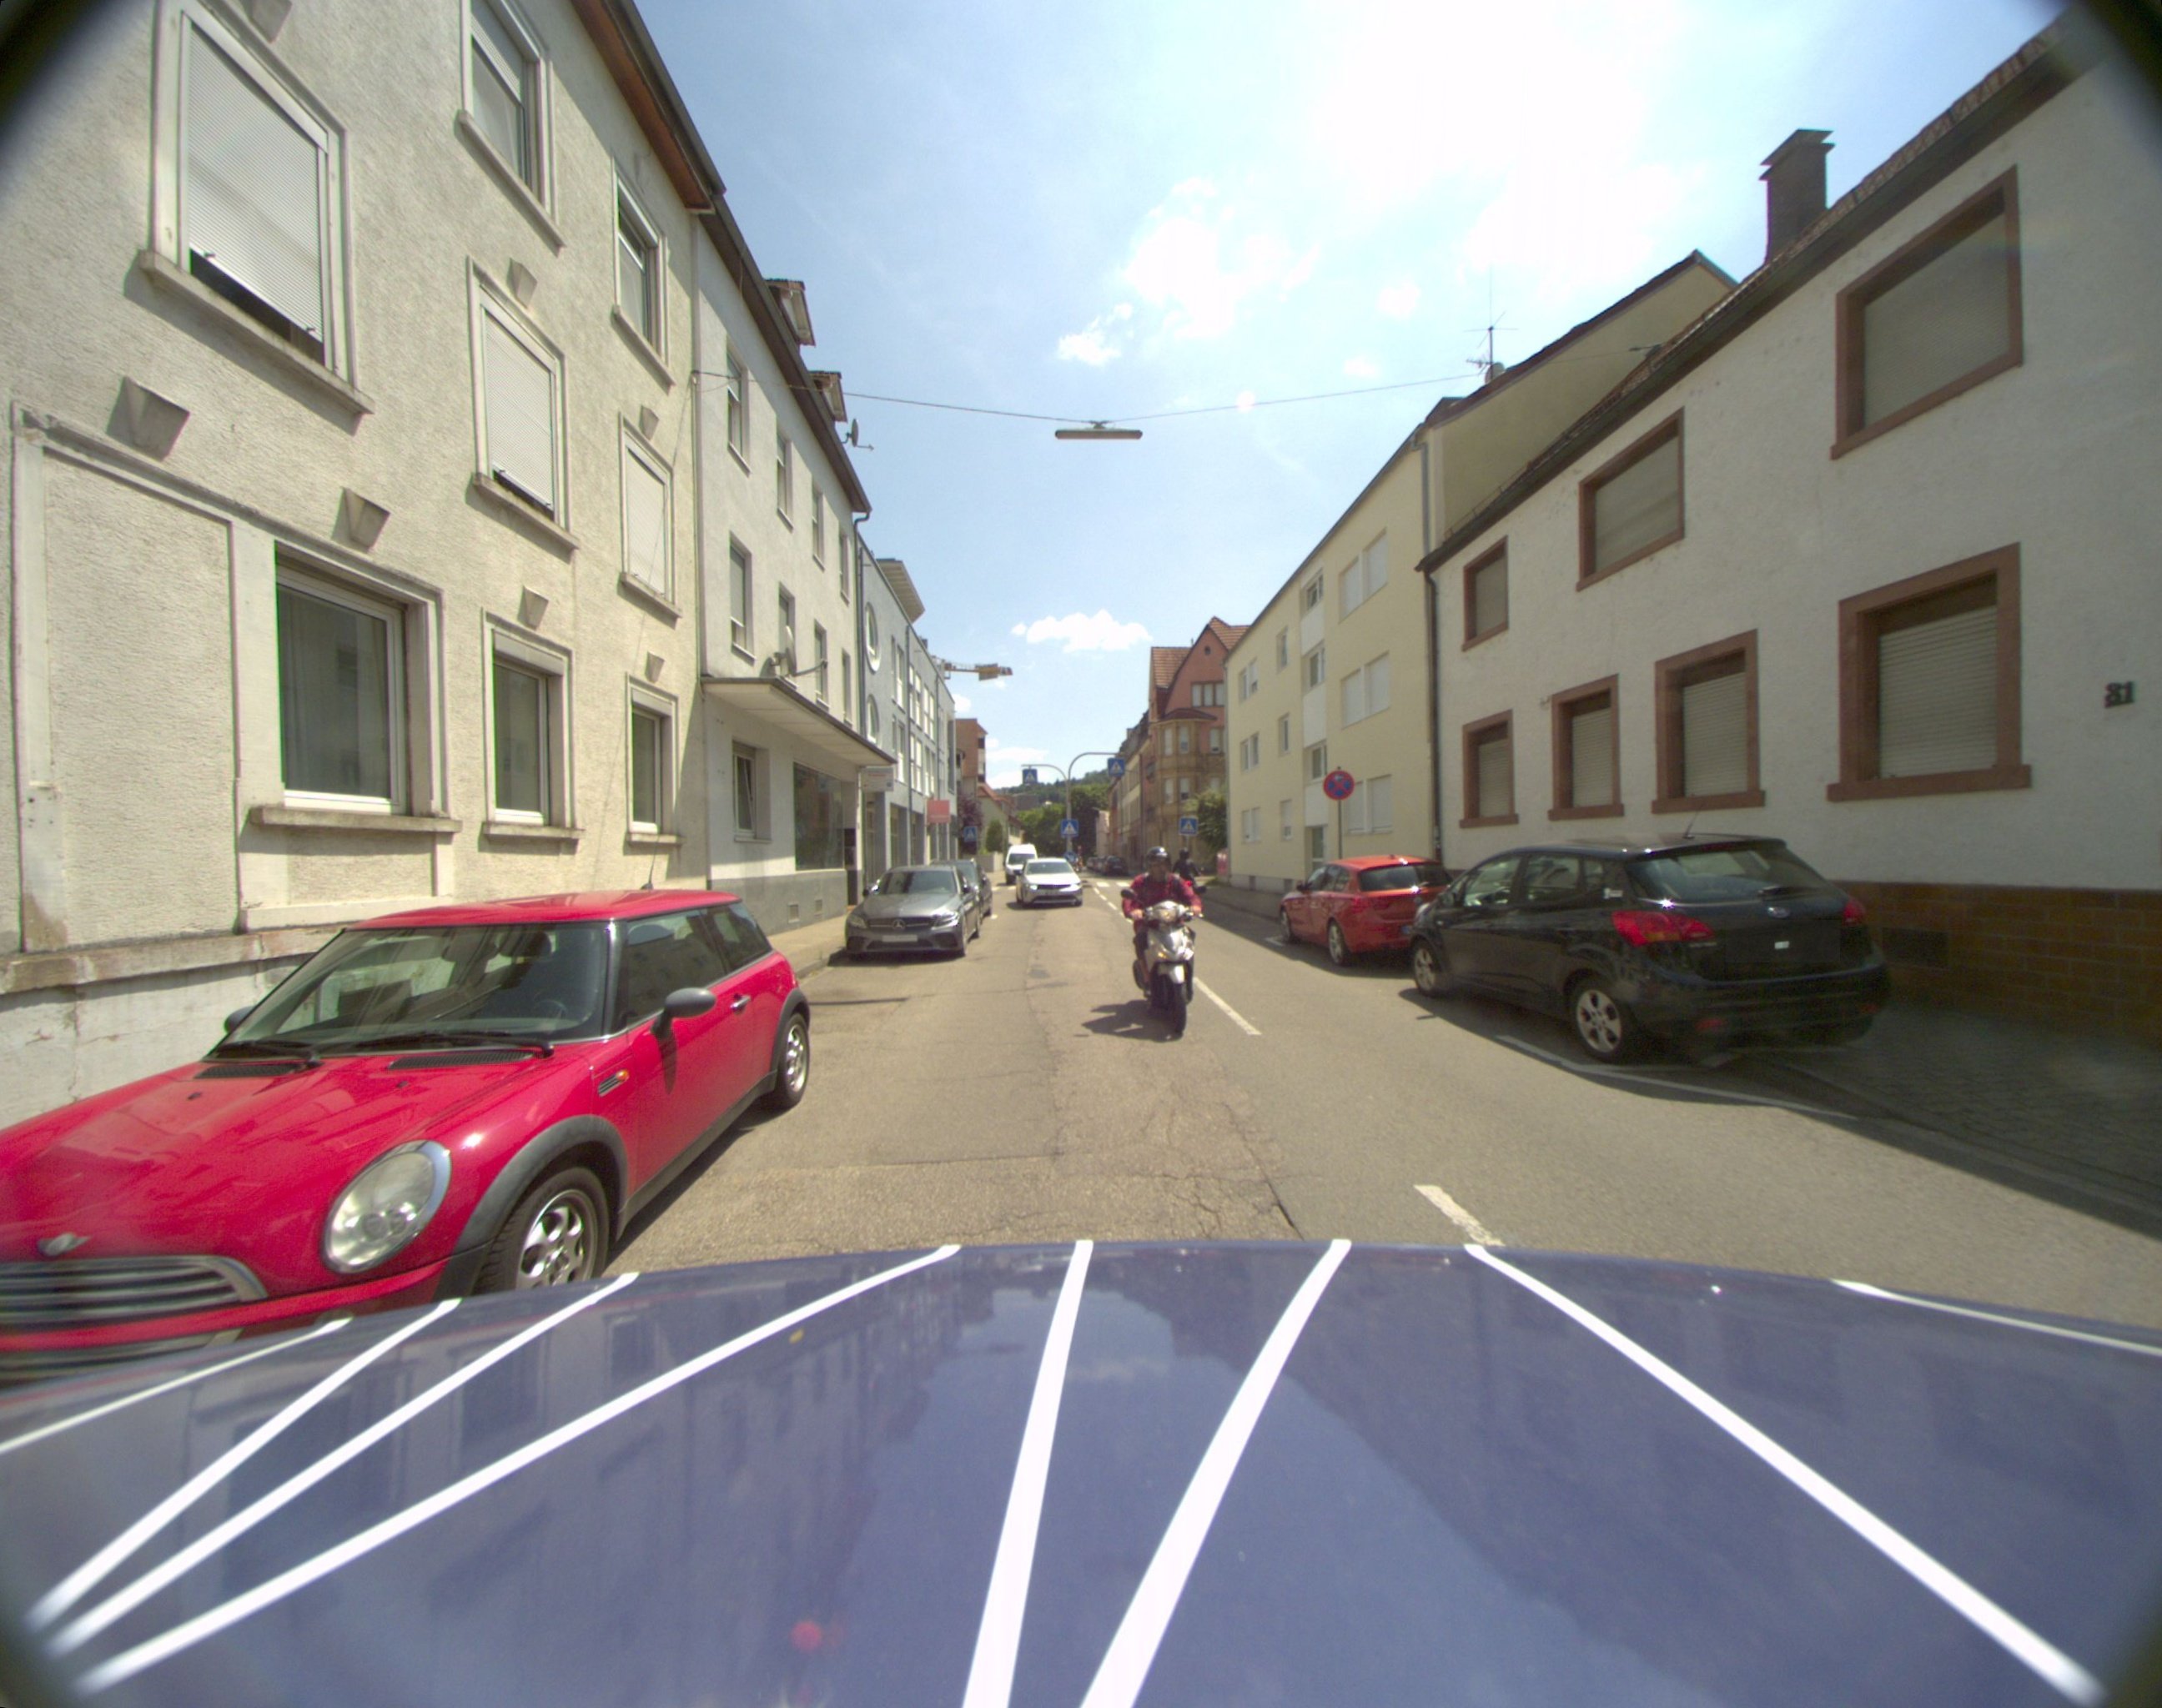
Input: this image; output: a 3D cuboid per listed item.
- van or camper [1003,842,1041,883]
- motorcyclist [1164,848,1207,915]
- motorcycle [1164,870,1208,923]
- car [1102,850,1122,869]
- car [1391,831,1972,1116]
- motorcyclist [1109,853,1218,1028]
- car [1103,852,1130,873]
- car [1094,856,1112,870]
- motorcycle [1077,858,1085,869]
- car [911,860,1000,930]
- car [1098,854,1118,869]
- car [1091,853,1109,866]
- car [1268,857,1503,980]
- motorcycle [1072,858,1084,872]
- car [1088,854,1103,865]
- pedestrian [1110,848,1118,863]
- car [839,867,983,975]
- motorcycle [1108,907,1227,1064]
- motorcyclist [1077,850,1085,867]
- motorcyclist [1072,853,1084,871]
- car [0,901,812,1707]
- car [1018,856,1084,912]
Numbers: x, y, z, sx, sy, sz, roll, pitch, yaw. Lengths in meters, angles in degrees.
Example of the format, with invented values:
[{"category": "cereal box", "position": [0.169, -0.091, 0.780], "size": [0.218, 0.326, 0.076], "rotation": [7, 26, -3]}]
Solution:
[{"category": "van or camper", "position": [-3.437, 0.503, 45.216], "size": [1.999, 2.273, 5.143], "rotation": [-1, 0, -2]}, {"category": "motorcyclist", "position": [2.422, 0.622, 17.707], "size": [0.824, 1.500, 1.056], "rotation": [-1, 1, -1]}, {"category": "motorcycle", "position": [2.432, 0.956, 17.806], "size": [0.689, 1.116, 2.027], "rotation": [-1, 0, -1]}, {"category": "car", "position": [2.487, 0.411, 61.574], "size": [1.440, 1.514, 2.695], "rotation": [-1, 1, -2]}, {"category": "car", "position": [4.456, 0.710, 6.570], "size": [1.799, 1.637, 3.944], "rotation": [-3, 1, -1]}, {"category": "motorcyclist", "position": [0.709, 0.725, 6.877], "size": [0.793, 1.431, 1.020], "rotation": [-3, 0, -2]}, {"category": "car", "position": [2.654, 0.607, 57.409], "size": [1.787, 1.450, 4.634], "rotation": [-1, 1, 0]}, {"category": "car", "position": [2.208, 0.886, 76.654], "size": [1.603, 1.433, 3.494], "rotation": [-1, 0, -3]}, {"category": "motorcycle", "position": [0.020, 0.896, 73.834], "size": [0.714, 1.022, 2.239], "rotation": [-1, 0, 1]}, {"category": "car", "position": [-3.093, 0.956, 19.408], "size": [1.714, 1.499, 3.999], "rotation": [-2, 1, -2]}, {"category": "car", "position": [2.476, 0.695, 71.022], "size": [1.639, 1.423, 4.018], "rotation": [0, 0, -1]}, {"category": "car", "position": [2.241, 0.646, 91.555], "size": [1.883, 1.501, 4.381], "rotation": [-1, 0, -1]}, {"category": "car", "position": [4.293, 0.808, 11.543], "size": [1.838, 1.408, 4.289], "rotation": [-2, 1, 0]}, {"category": "motorcycle", "position": [-0.252, 0.941, 64.561], "size": [0.898, 1.169, 2.207], "rotation": [-2, 0, -2]}, {"category": "car", "position": [1.900, 0.720, 100.518], "size": [1.715, 1.451, 3.852], "rotation": [0, 0, -2]}, {"category": "pedestrian", "position": [4.045, 0.170, 92.393], "size": [0.770, 1.761, 0.763], "rotation": [-3, 0, -2]}, {"category": "car", "position": [-2.749, 1.004, 13.268], "size": [1.734, 1.412, 4.543], "rotation": [-2, 0, -4]}, {"category": "motorcycle", "position": [0.709, 1.093, 6.908], "size": [0.760, 1.049, 1.991], "rotation": [-3, 0, -2]}, {"category": "motorcyclist", "position": [-0.006, 0.394, 73.812], "size": [0.714, 1.625, 1.069], "rotation": [-1, 0, 1]}, {"category": "motorcyclist", "position": [-0.255, 0.645, 64.561], "size": [0.918, 1.471, 1.202], "rotation": [-2, 1, -2]}, {"category": "car", "position": [-2.510, 1.032, 3.250], "size": [1.623, 1.377, 3.537], "rotation": [-2, 0, -4]}, {"category": "car", "position": [-0.993, 0.856, 23.629], "size": [1.813, 1.512, 3.998], "rotation": [-2, 0, -4]}]
